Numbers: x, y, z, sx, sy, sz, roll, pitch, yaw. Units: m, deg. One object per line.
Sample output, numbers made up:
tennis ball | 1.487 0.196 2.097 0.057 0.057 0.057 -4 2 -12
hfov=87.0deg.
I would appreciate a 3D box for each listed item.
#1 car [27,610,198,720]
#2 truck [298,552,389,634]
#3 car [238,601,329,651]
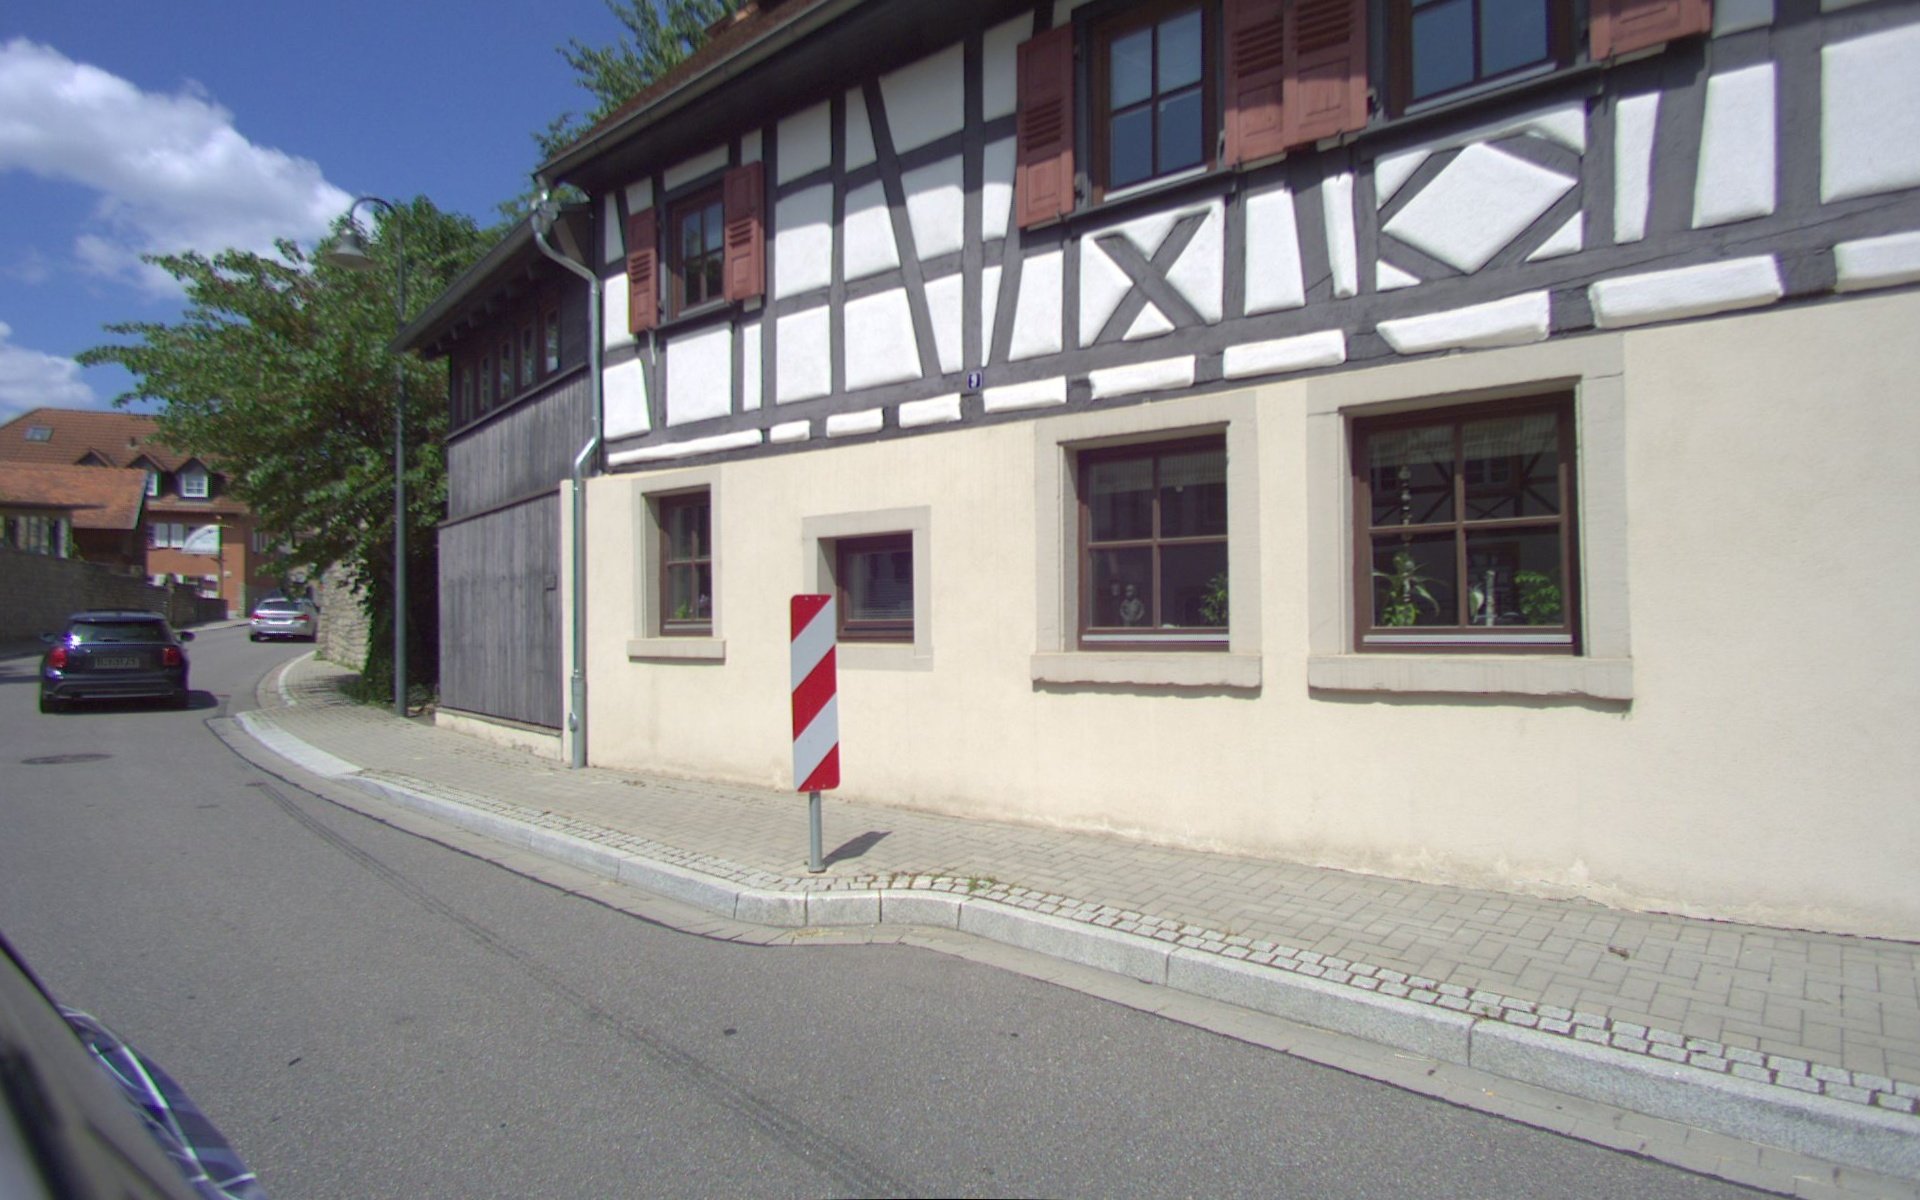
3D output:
car | -13.081 0.928 15.856 1.676 1.477 4.446 2 -2 -36
truck | -30.657 -0.388 50.666 2.378 3.685 9.599 -2 1 -23
car | -23.512 0.868 35.347 1.868 1.511 4.629 5 -2 -25
